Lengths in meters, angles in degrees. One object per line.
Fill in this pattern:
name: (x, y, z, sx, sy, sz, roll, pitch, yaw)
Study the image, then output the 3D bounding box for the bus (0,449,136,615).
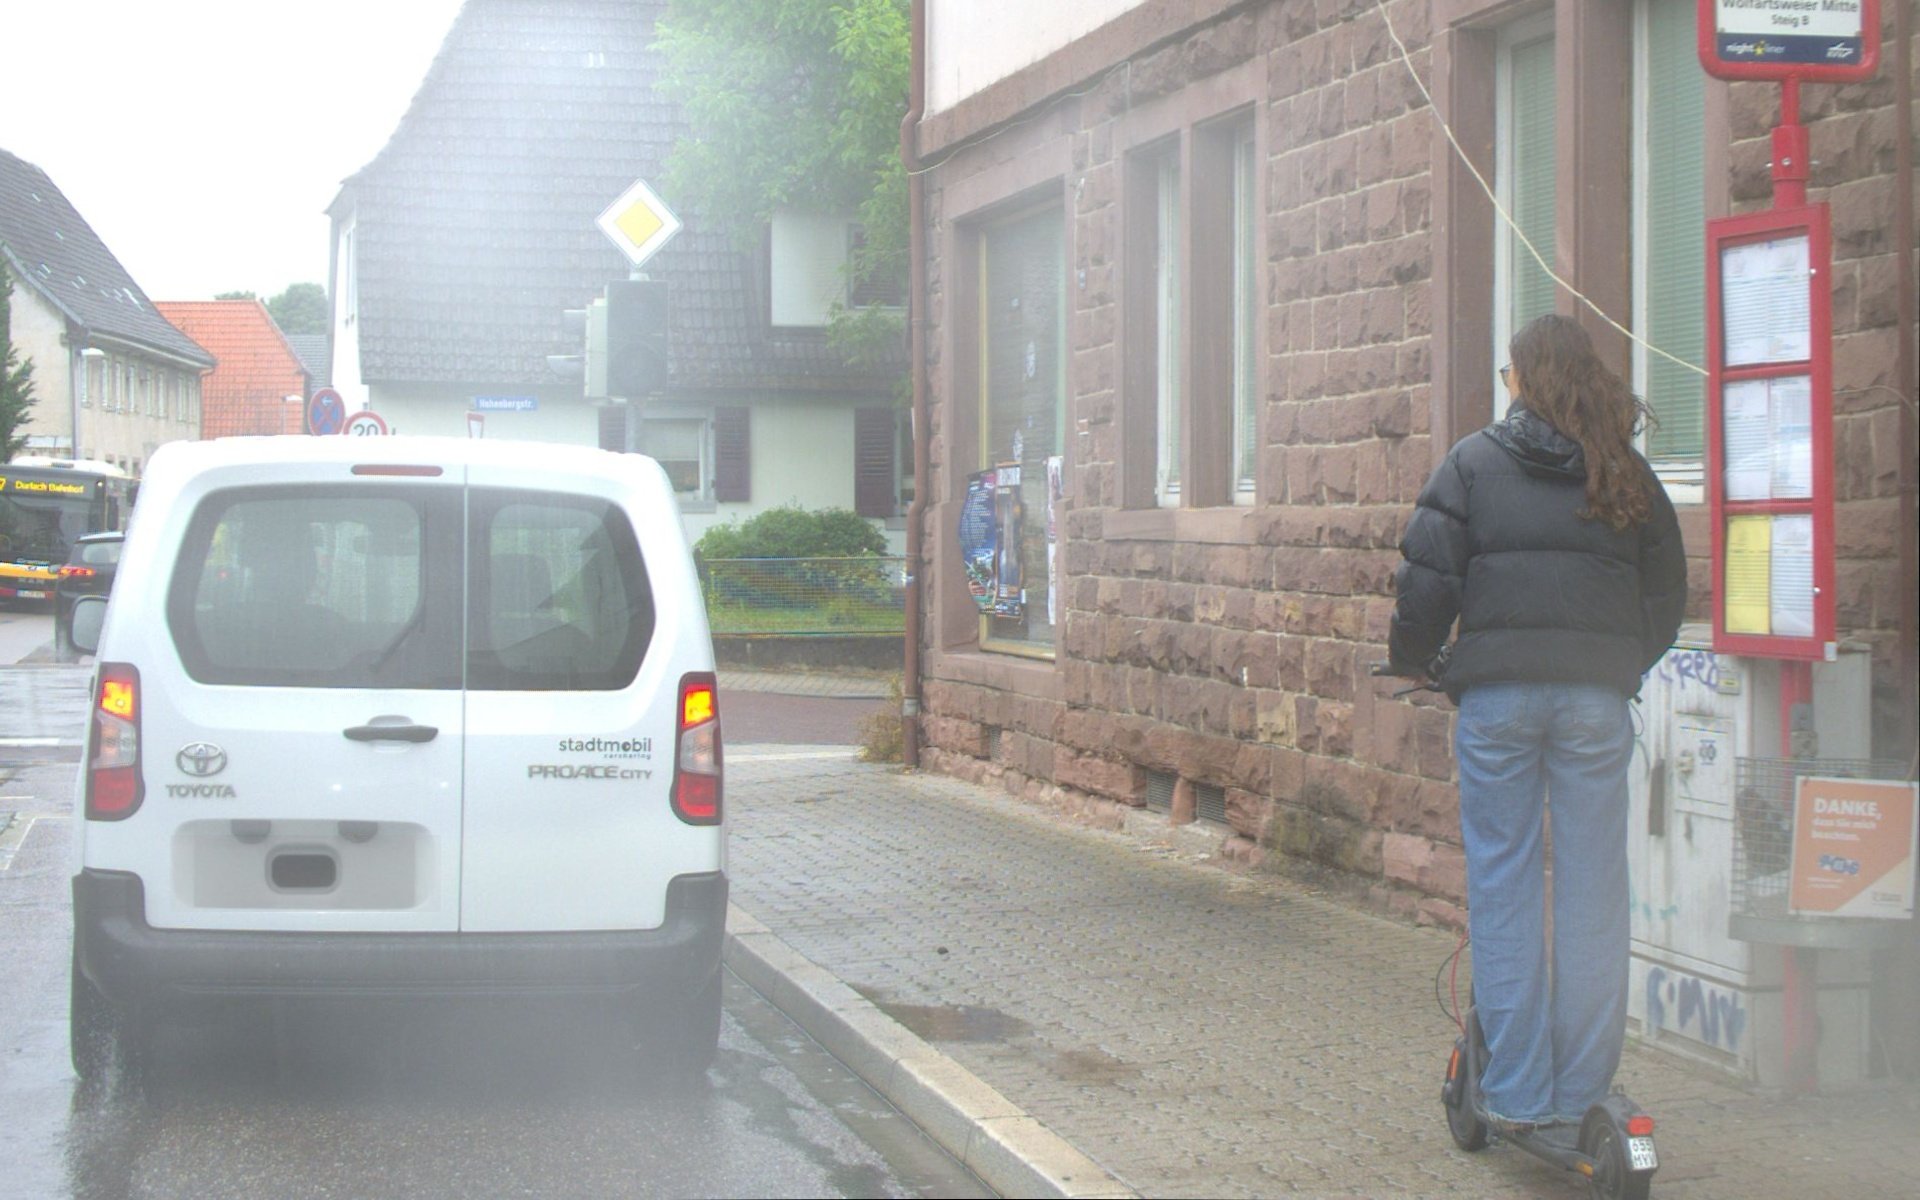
bus: (-18.473, -1.517, 69.714, 2.649, 2.989, 12.197, 1, 3, -10)

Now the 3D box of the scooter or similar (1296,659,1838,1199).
scooter or similar: (1.231, 0.722, 7.252, 0.620, 1.123, 1.402, 0, 2, -12)

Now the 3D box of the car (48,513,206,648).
car: (-10.461, -0.275, 43.375, 1.809, 1.591, 3.757, 1, 1, -12)

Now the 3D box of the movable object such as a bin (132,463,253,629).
movable object such as a bin: (-12.886, -0.917, 57.899, 1.726, 2.644, 3.975, 1, 1, -10)

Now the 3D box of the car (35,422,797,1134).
car: (-1.786, 0.425, 10.691, 1.894, 1.787, 3.815, 1, 1, -12)

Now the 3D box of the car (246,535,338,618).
car: (-16.530, -0.592, 85.214, 1.895, 1.941, 4.001, -2, 1, -7)

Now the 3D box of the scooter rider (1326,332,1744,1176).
scooter rider: (1.221, 0.315, 7.364, 0.730, 1.727, 0.518, 0, 0, -12)
